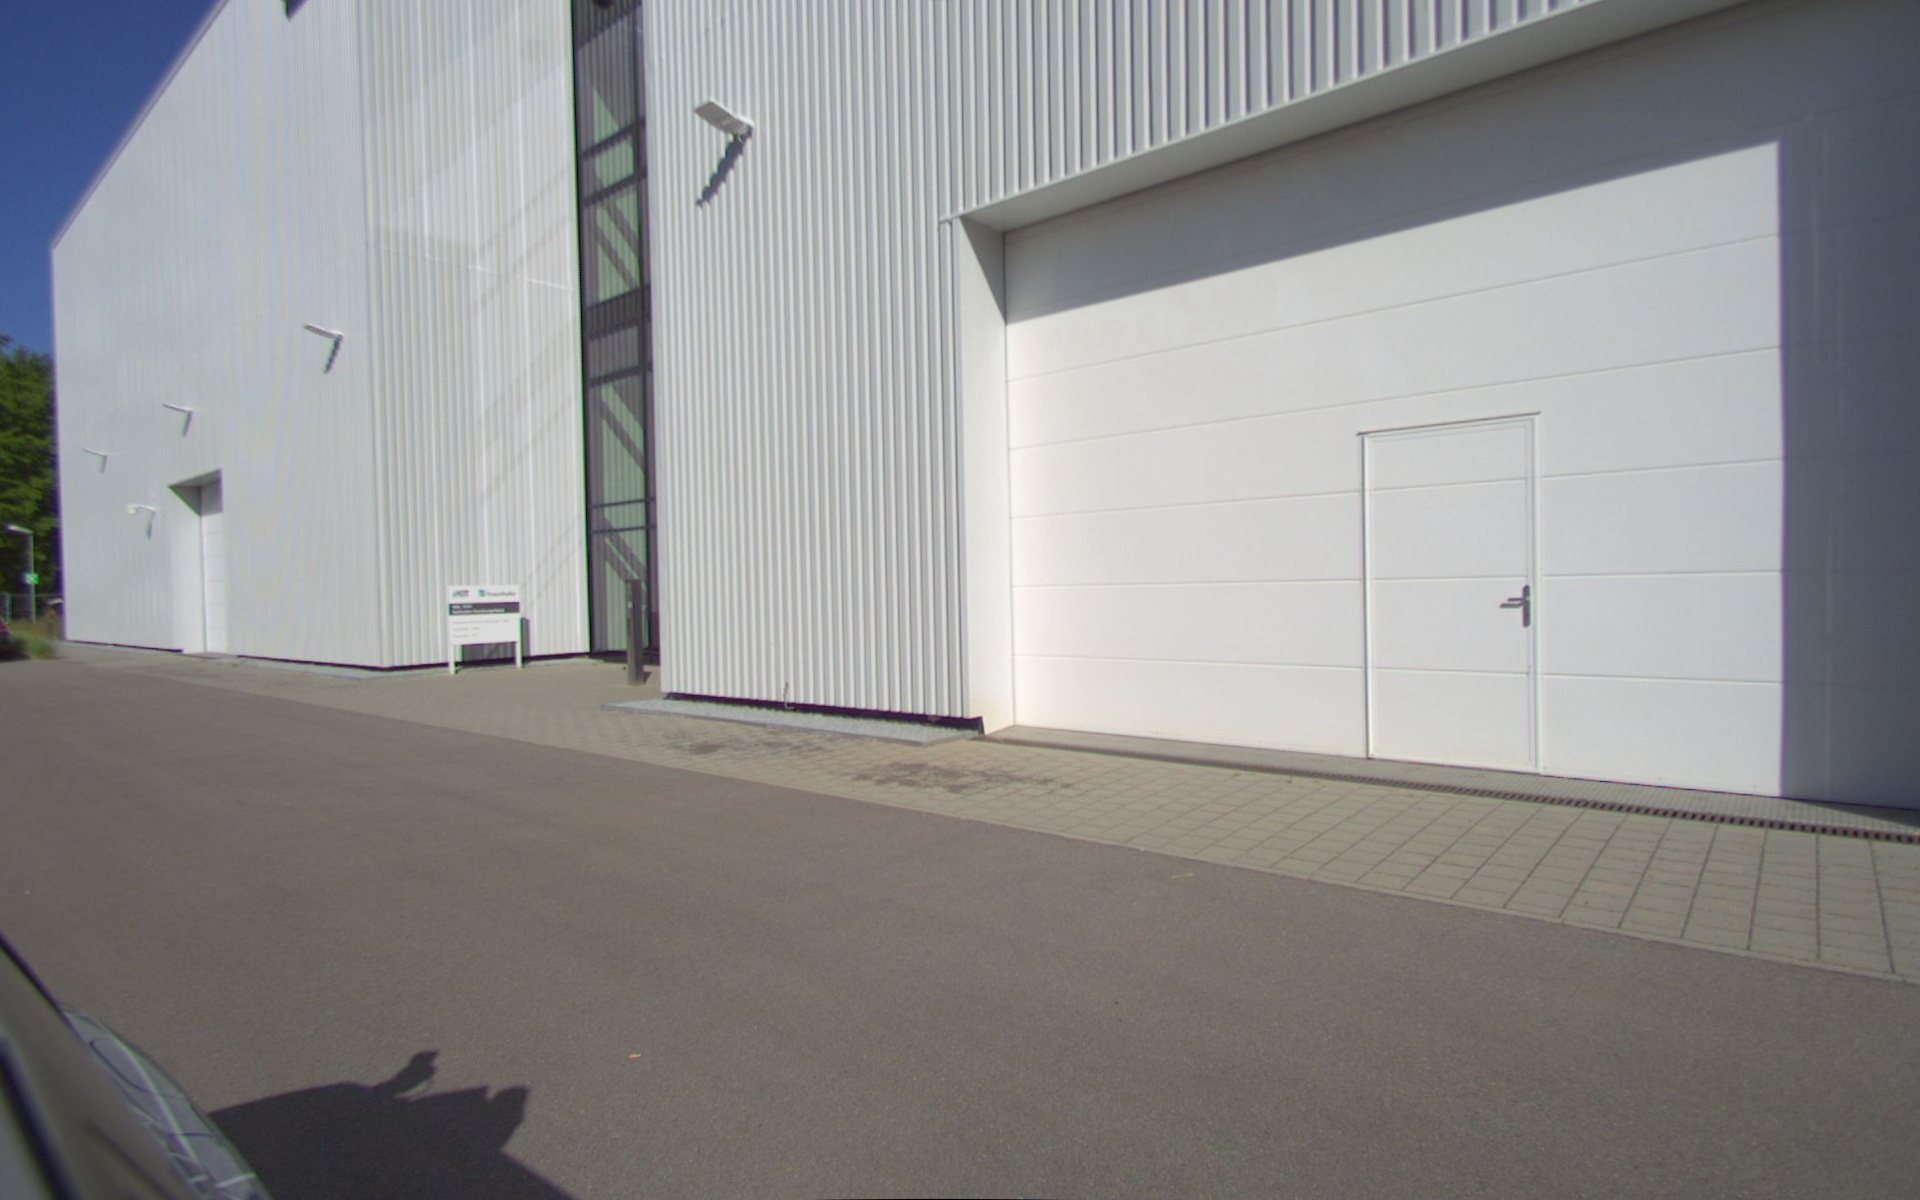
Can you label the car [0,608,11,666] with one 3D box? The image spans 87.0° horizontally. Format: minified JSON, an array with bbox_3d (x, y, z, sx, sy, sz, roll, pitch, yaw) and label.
[{"bbox_3d":[-26.342,1.010,26.471,4.312,1.456,1.738,-2,2,41],"label":"car"}]
